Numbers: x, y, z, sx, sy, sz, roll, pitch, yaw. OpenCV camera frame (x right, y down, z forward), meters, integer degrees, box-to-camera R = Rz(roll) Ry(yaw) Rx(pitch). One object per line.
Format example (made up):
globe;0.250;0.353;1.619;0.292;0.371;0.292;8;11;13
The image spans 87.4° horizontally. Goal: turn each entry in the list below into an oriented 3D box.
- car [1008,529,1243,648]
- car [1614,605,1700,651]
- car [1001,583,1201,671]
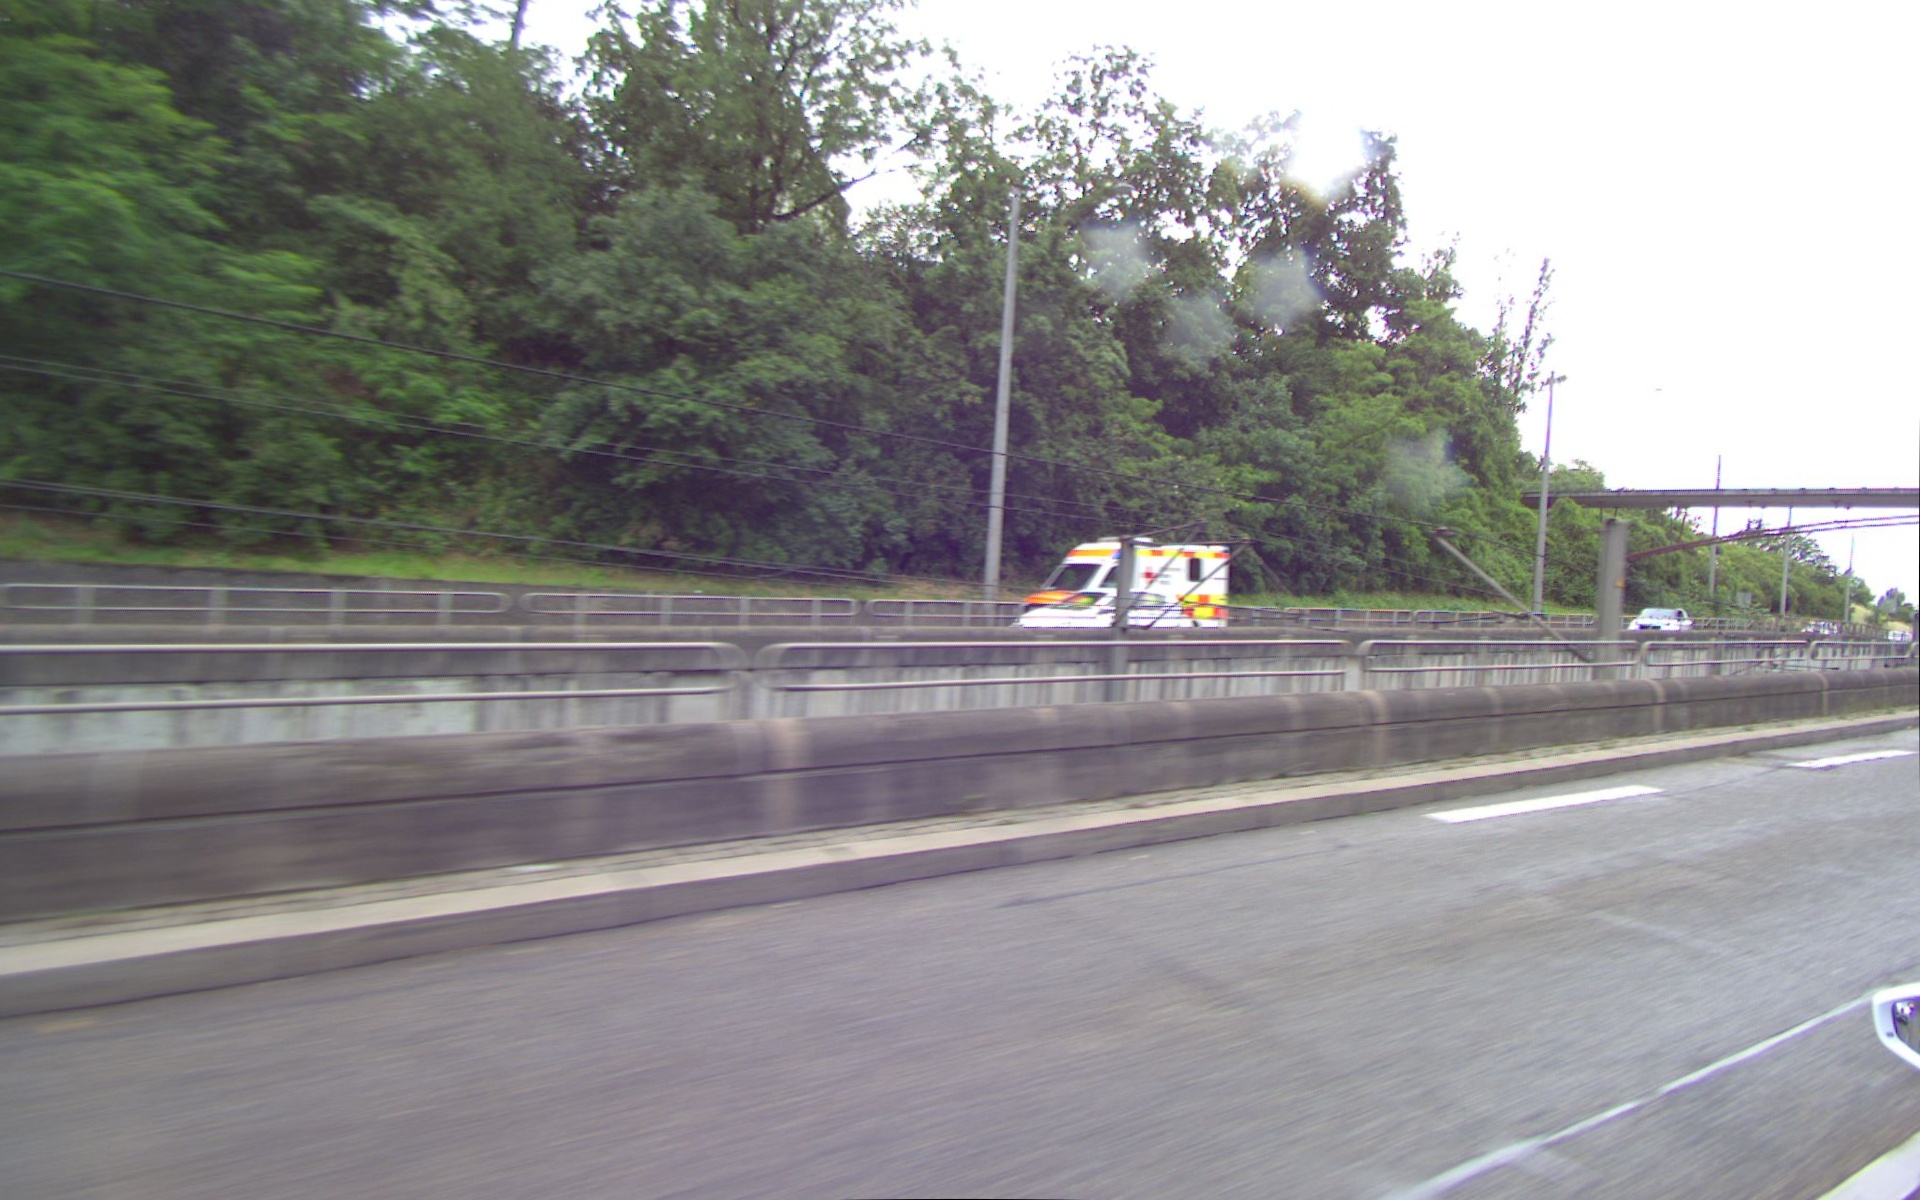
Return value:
car;4.445;-0.191;26.418;6.279;2.771;2.169;2;-1;-34
car;29.014;1.167;41.768;4.107;1.773;1.945;2;-1;-40
car;3.054;0.588;21.522;4.068;1.726;1.807;2;-1;-34
